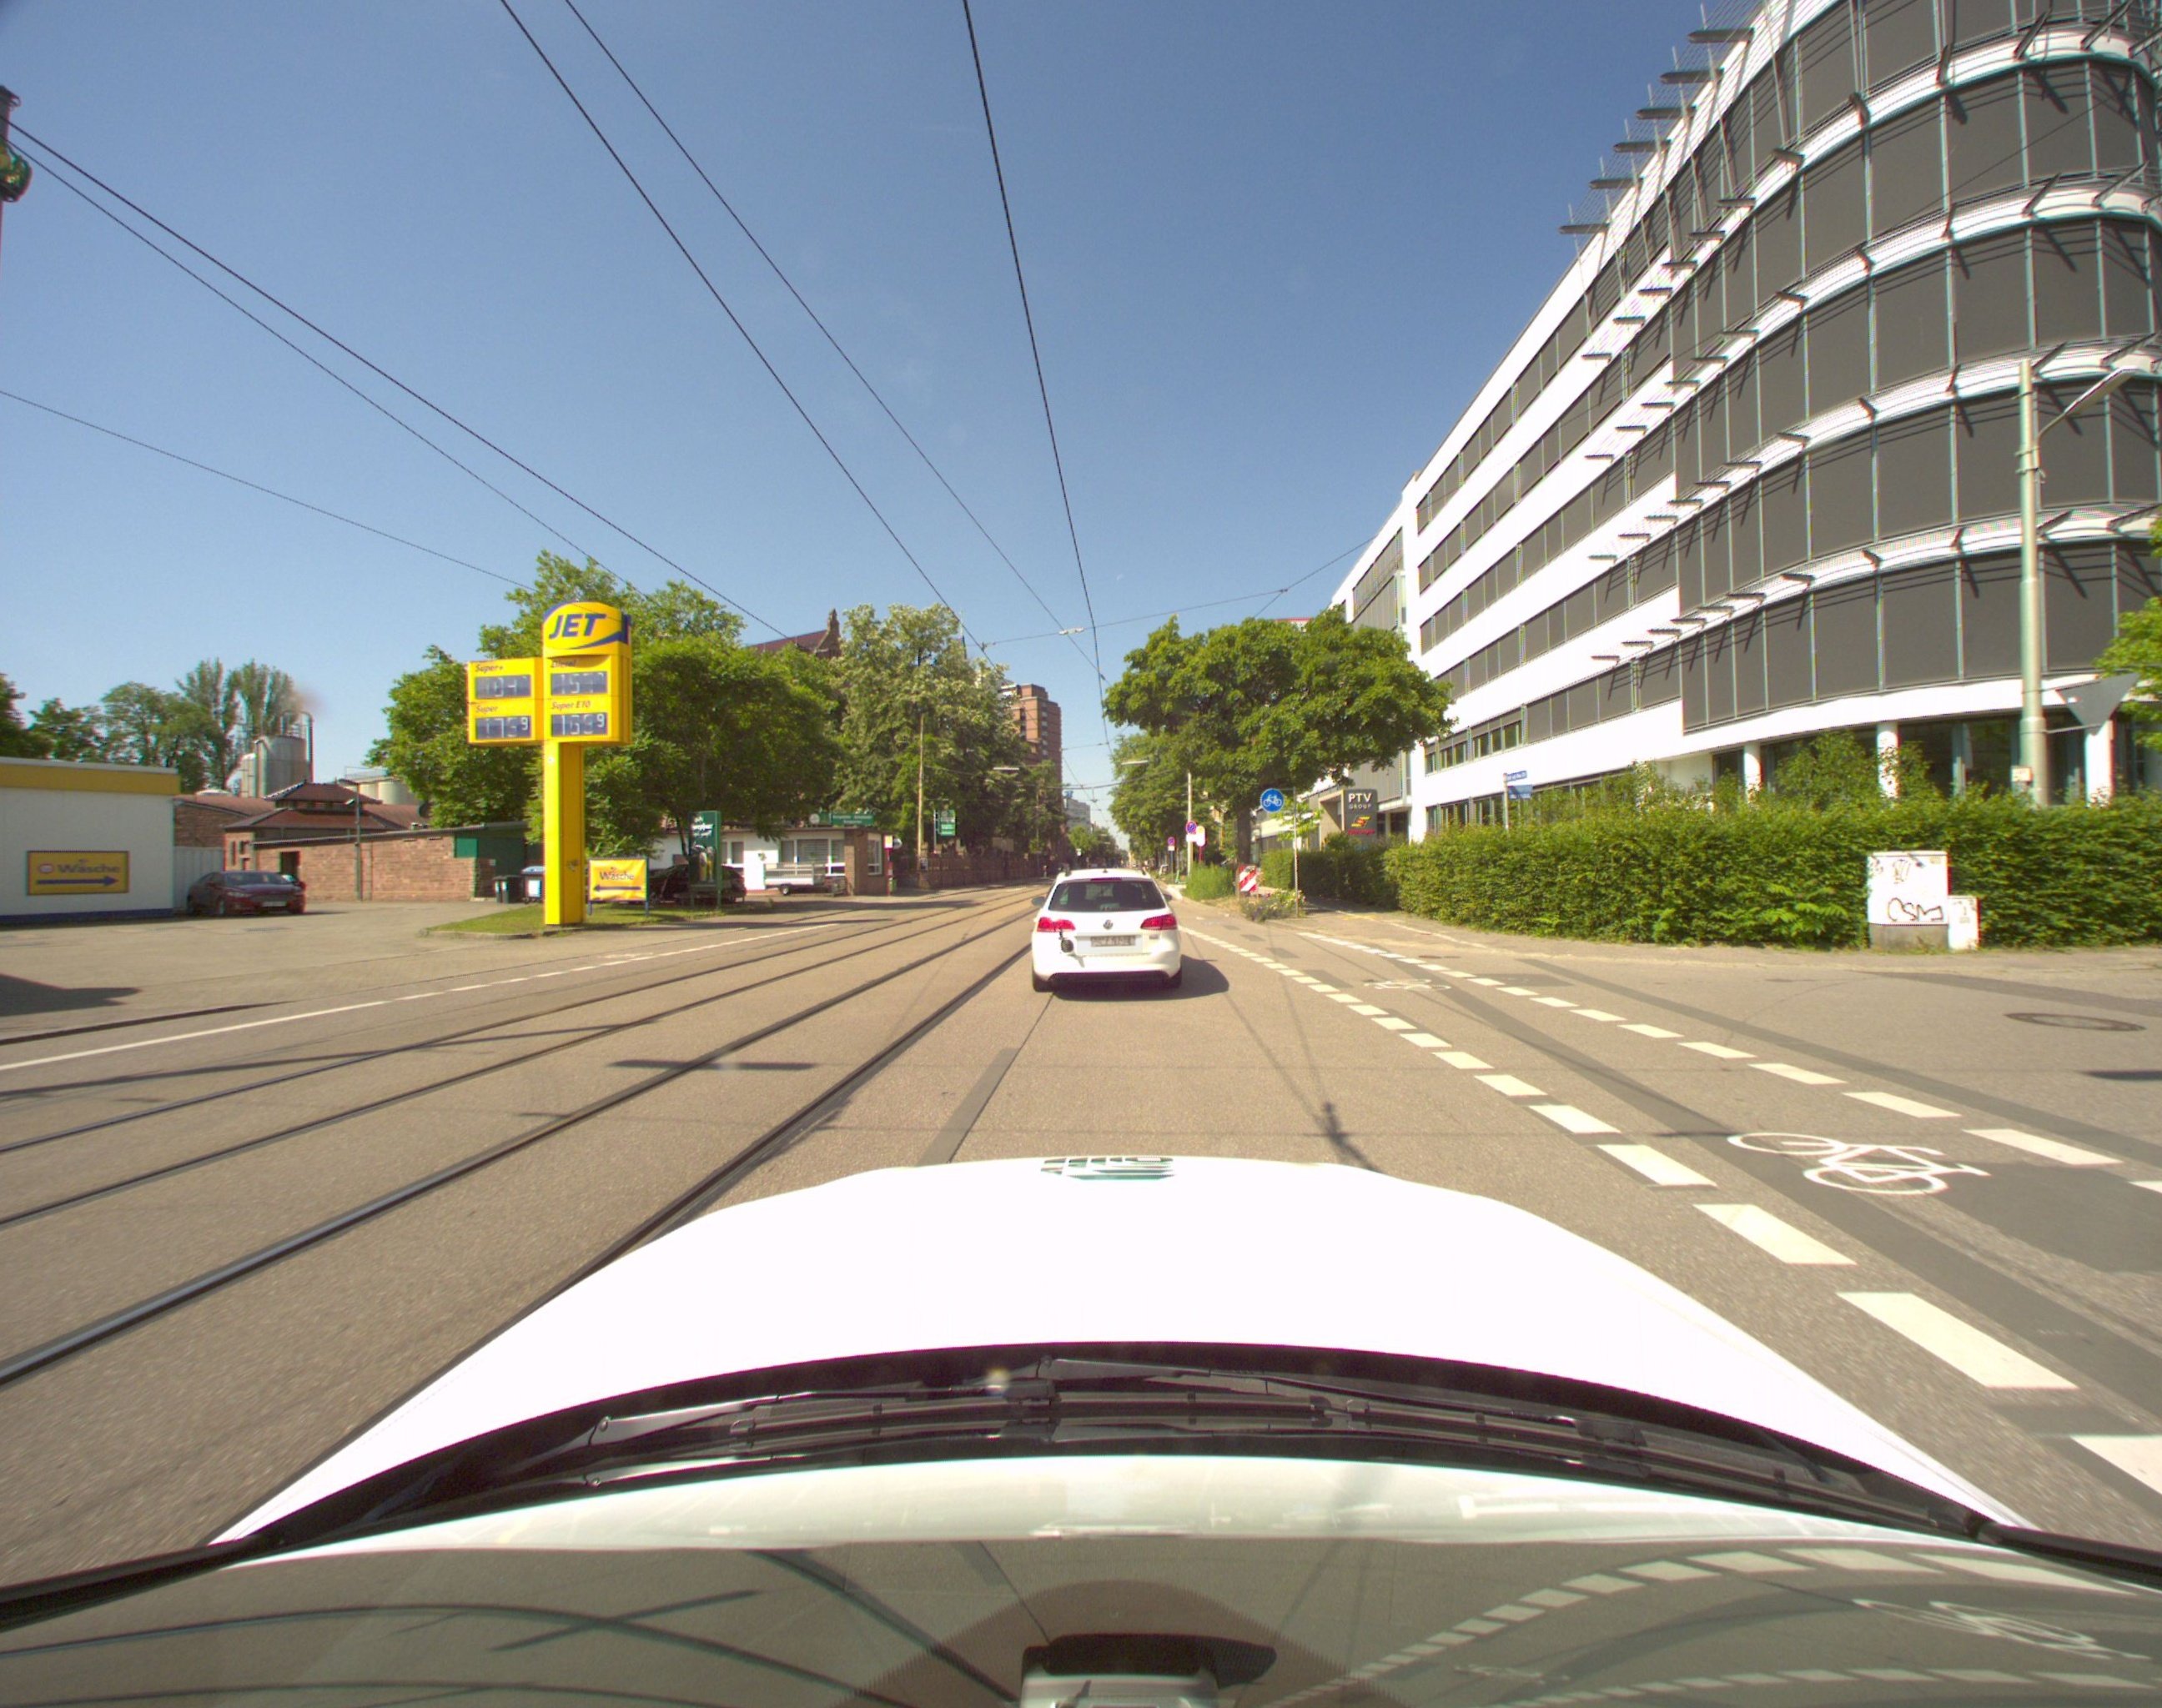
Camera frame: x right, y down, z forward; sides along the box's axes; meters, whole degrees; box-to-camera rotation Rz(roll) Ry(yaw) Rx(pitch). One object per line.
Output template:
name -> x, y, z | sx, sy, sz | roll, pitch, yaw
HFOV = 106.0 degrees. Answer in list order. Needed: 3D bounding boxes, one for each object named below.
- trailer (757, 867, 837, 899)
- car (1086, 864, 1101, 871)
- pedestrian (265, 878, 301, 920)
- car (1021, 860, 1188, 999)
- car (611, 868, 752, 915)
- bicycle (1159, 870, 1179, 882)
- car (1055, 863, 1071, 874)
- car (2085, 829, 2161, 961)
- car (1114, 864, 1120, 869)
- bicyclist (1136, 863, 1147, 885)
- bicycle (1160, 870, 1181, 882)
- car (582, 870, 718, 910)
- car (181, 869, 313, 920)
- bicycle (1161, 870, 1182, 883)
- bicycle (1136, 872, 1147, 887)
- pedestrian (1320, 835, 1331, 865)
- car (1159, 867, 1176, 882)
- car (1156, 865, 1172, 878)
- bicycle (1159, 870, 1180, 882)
trailer -> -13.868, 1.401, 39.860 | 3.200, 1.526, 1.780 | -1, -1, 5
car -> 3.586, 3.961, 235.135 | 4.014, 1.816, 1.980 | -1, -1, -32
pedestrian -> -28.162, 1.578, 28.741 | 0.672, 1.469, 0.641 | -1, -1, 12
car -> 0.336, 0.828, 10.915 | 1.747, 1.442, 4.415 | -1, -1, 2
car -> -15.544, 1.405, 31.809 | 4.603, 1.625, 1.926 | 0, -1, -42
bicycle -> 8.401, 2.064, 77.664 | 1.904, 1.083, 0.551 | 1, -1, 1
car -> -3.096, 2.495, 140.211 | 1.983, 1.757, 4.720 | -2, -1, 6
car -> 13.842, 0.426, 8.895 | 3.577, 1.473, 1.594 | -1, -1, 4
car -> 10.284, 3.634, 235.151 | 1.486, 1.385, 3.647 | -2, -1, 5
bicyclist -> 4.579, 1.514, 61.749 | 0.782, 1.629, 0.739 | -2, -3, 4
bicycle -> 8.379, 2.042, 76.450 | 1.904, 1.083, 0.551 | 1, -1, 1
car -> -17.590, 1.414, 33.339 | 4.603, 1.468, 1.926 | 0, -1, -42
car -> -27.034, 1.276, 26.396 | 4.118, 1.527, 1.949 | -1, -2, 29
bicycle -> 7.972, 1.959, 71.465 | 1.767, 1.083, 0.596 | -2, -1, 1
bicycle -> 4.571, 1.948, 61.606 | 0.807, 1.078, 2.014 | -1, -1, 5
pedestrian -> 14.660, -0.233, 48.821 | 0.496, 1.728, 0.547 | -1, -1, 3
car -> 8.684, 2.044, 82.271 | 1.583, 1.451, 3.950 | -2, -1, 5
car -> 9.576, 1.970, 94.218 | 1.656, 1.444, 4.639 | -2, -1, 5
bicycle -> 8.380, 2.047, 77.051 | 1.904, 1.083, 0.551 | 1, -1, 1
